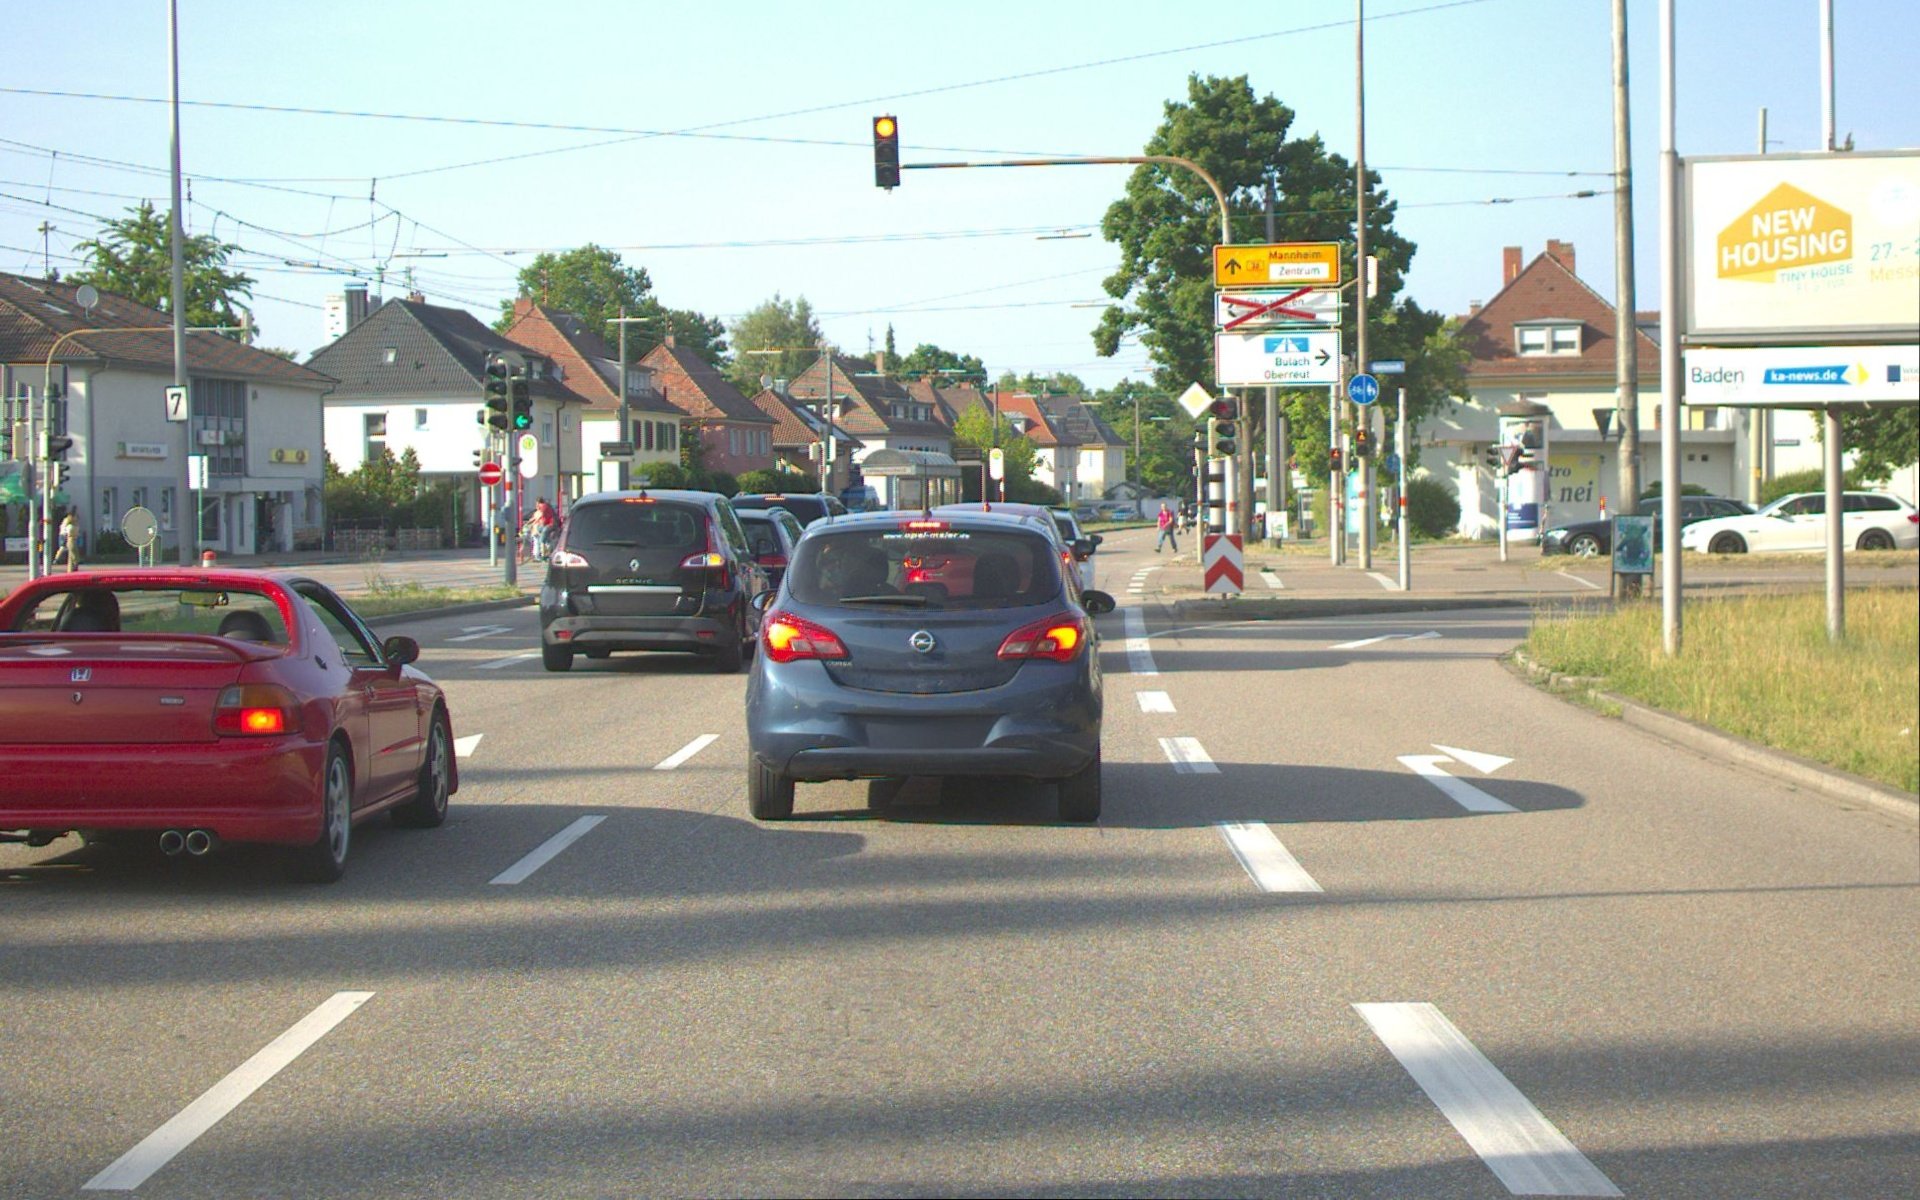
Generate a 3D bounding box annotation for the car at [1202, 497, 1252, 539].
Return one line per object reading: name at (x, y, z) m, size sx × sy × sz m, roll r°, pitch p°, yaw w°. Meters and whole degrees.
car at (9.271, -2.845, 119.318) m, size 1.675 × 1.393 × 3.999 m, roll 1°, pitch 1°, yaw 5°

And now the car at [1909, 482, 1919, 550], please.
car at (22.472, -1.813, 73.461) m, size 3.987 × 1.448 × 1.715 m, roll -1°, pitch 2°, yaw 5°

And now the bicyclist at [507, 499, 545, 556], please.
bicyclist at (-11.058, -1.839, 87.654) m, size 0.884 × 1.426 × 1.137 m, roll 1°, pitch 1°, yaw -5°

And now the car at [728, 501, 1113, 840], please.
car at (-0.242, 0.261, 17.760) m, size 1.741 × 1.500 × 4.223 m, roll -1°, pitch 2°, yaw -2°

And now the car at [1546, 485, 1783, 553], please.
car at (15.176, -1.752, 74.230) m, size 4.824 × 1.406 × 1.715 m, roll -1°, pitch 2°, yaw 5°

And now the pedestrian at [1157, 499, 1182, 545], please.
pedestrian at (6.923, -2.588, 113.731) m, size 0.753 × 1.494 × 0.827 m, roll 1°, pitch 1°, yaw 8°

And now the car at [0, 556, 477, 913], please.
car at (-3.210, 0.467, 14.520) m, size 1.731 × 1.202 × 3.847 m, roll 1°, pitch 2°, yaw 1°

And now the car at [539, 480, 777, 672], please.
car at (-2.726, -0.274, 31.827) m, size 1.763 × 1.665 × 4.084 m, roll 0°, pitch 2°, yaw 1°

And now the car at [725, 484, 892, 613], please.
car at (-2.008, -0.737, 46.688) m, size 1.507 × 1.645 × 4.743 m, roll -1°, pitch 2°, yaw 7°

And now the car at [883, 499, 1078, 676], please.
car at (0.227, -0.166, 32.574) m, size 1.706 × 1.546 × 3.978 m, roll -1°, pitch 2°, yaw 1°

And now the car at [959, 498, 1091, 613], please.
car at (0.895, -0.627, 45.958) m, size 1.656 × 1.438 × 4.014 m, roll -1°, pitch 2°, yaw 2°

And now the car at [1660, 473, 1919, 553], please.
car at (17.048, -1.786, 70.434) m, size 5.095 × 1.557 × 1.840 m, roll -1°, pitch 2°, yaw 5°

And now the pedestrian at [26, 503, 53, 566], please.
pedestrian at (-23.777, -1.694, 88.772) m, size 0.512 × 1.593 × 0.539 m, roll 0°, pitch 1°, yaw 3°

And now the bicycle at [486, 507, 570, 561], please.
bicycle at (-11.010, -1.690, 87.669) m, size 2.073 × 1.343 × 1.109 m, roll 1°, pitch 1°, yaw -5°

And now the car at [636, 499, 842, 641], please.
car at (-2.451, -0.389, 39.166) m, size 1.700 × 1.503 × 4.553 m, roll 0°, pitch 2°, yaw 5°
